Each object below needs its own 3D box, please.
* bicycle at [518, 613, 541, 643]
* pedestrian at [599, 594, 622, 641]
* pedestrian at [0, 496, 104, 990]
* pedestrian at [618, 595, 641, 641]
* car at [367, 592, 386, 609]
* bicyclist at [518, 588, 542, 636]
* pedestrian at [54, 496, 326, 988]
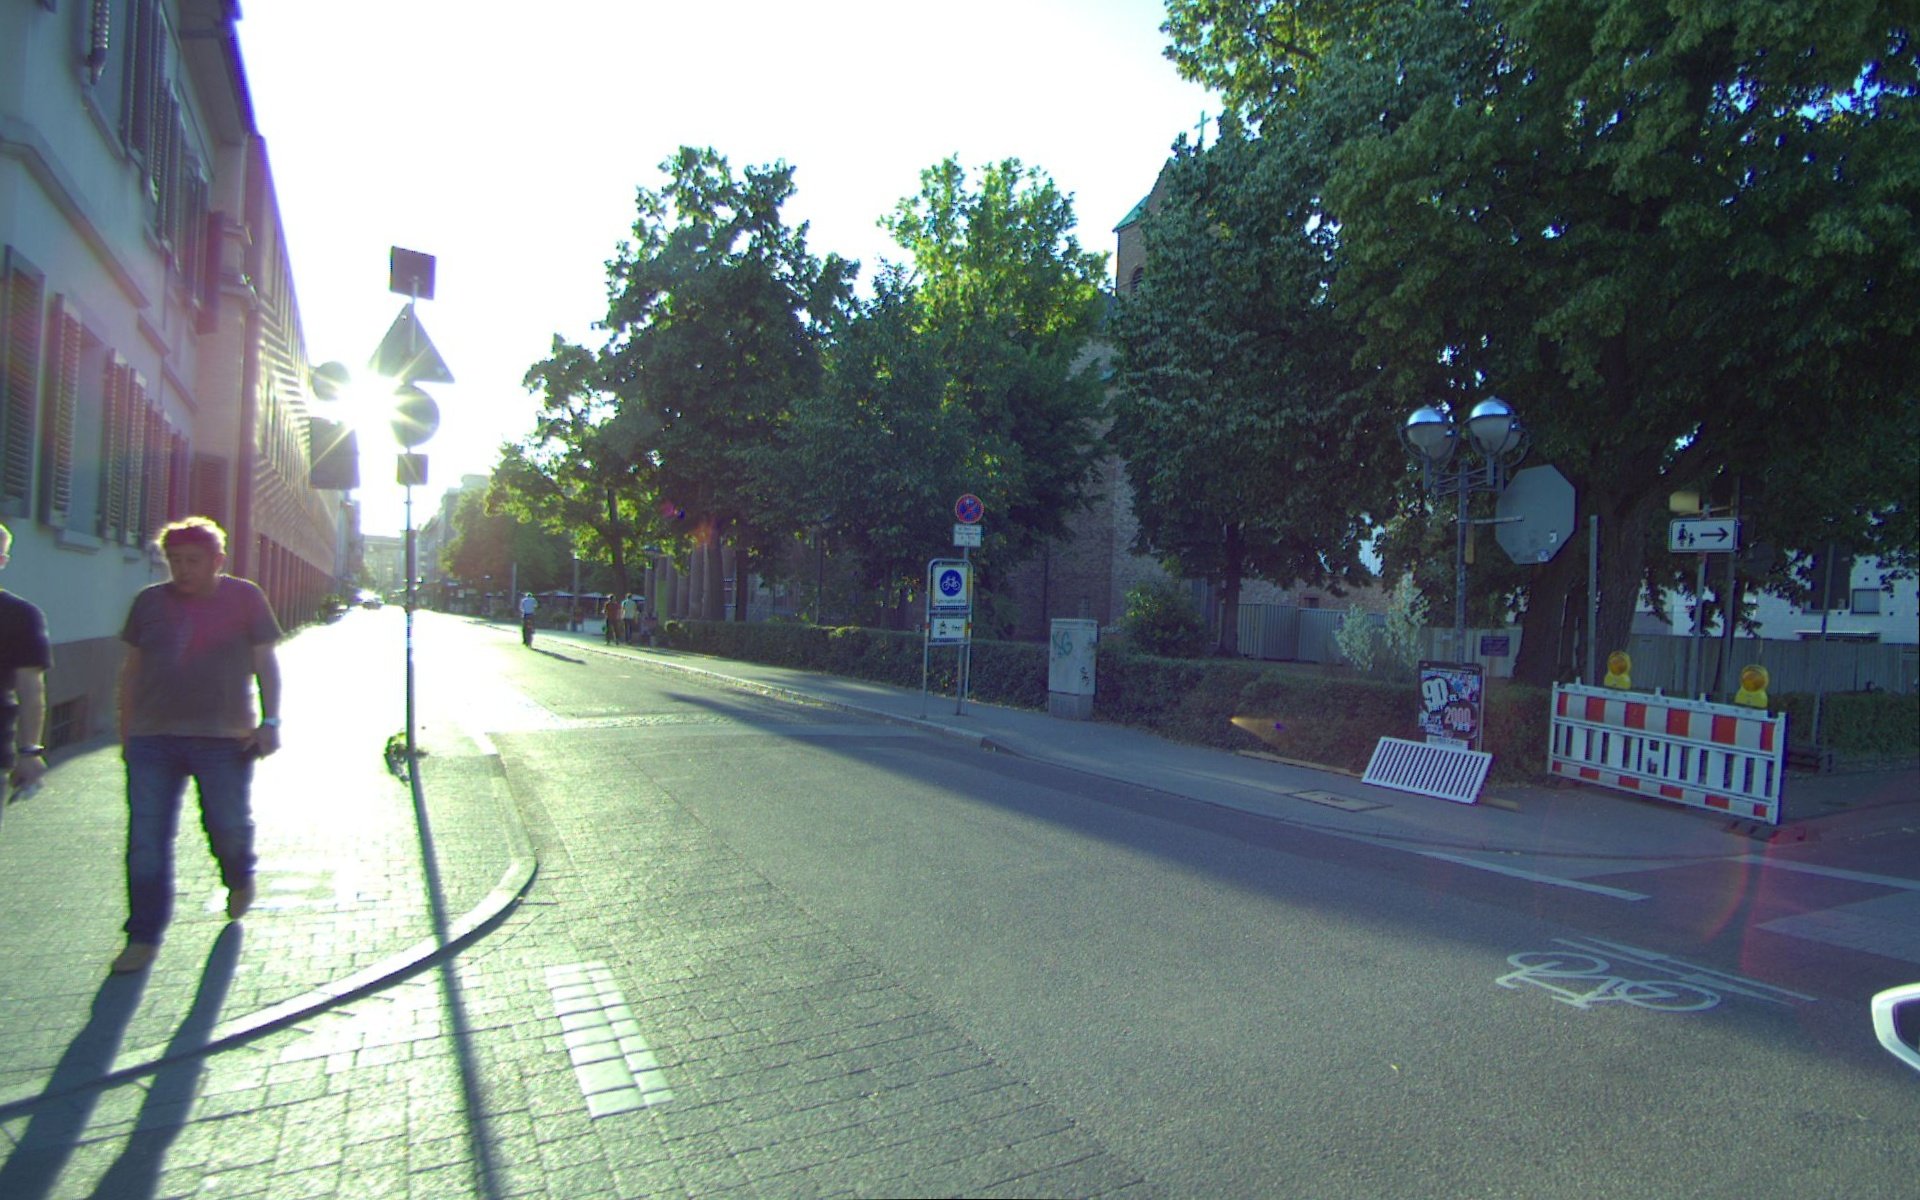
[{"bbox_3d":[-14.426,0.929,33.659,0.527,0.945,1.821,3,-1,-28],"label":"bicycle"},{"bbox_3d":[-13.185,0.665,37.901,0.646,1.715,0.747,3,-1,-29],"label":"pedestrian"},{"bbox_3d":[-3.826,0.500,3.841,0.643,1.763,0.852,3,-1,-32],"label":"pedestrian"},{"bbox_3d":[-12.604,0.684,38.283,0.646,1.715,0.747,3,-1,-29],"label":"pedestrian"},{"bbox_3d":[-74.531,0.068,128.330,1.977,2.040,3.967,3,-2,-30],"label":"car"},{"bbox_3d":[-14.456,0.400,33.751,0.622,1.571,0.671,3,-1,-28],"label":"bicyclist"},{"bbox_3d":[-3.214,0.537,4.302,0.754,1.811,0.933,3,-1,-32],"label":"pedestrian"}]
